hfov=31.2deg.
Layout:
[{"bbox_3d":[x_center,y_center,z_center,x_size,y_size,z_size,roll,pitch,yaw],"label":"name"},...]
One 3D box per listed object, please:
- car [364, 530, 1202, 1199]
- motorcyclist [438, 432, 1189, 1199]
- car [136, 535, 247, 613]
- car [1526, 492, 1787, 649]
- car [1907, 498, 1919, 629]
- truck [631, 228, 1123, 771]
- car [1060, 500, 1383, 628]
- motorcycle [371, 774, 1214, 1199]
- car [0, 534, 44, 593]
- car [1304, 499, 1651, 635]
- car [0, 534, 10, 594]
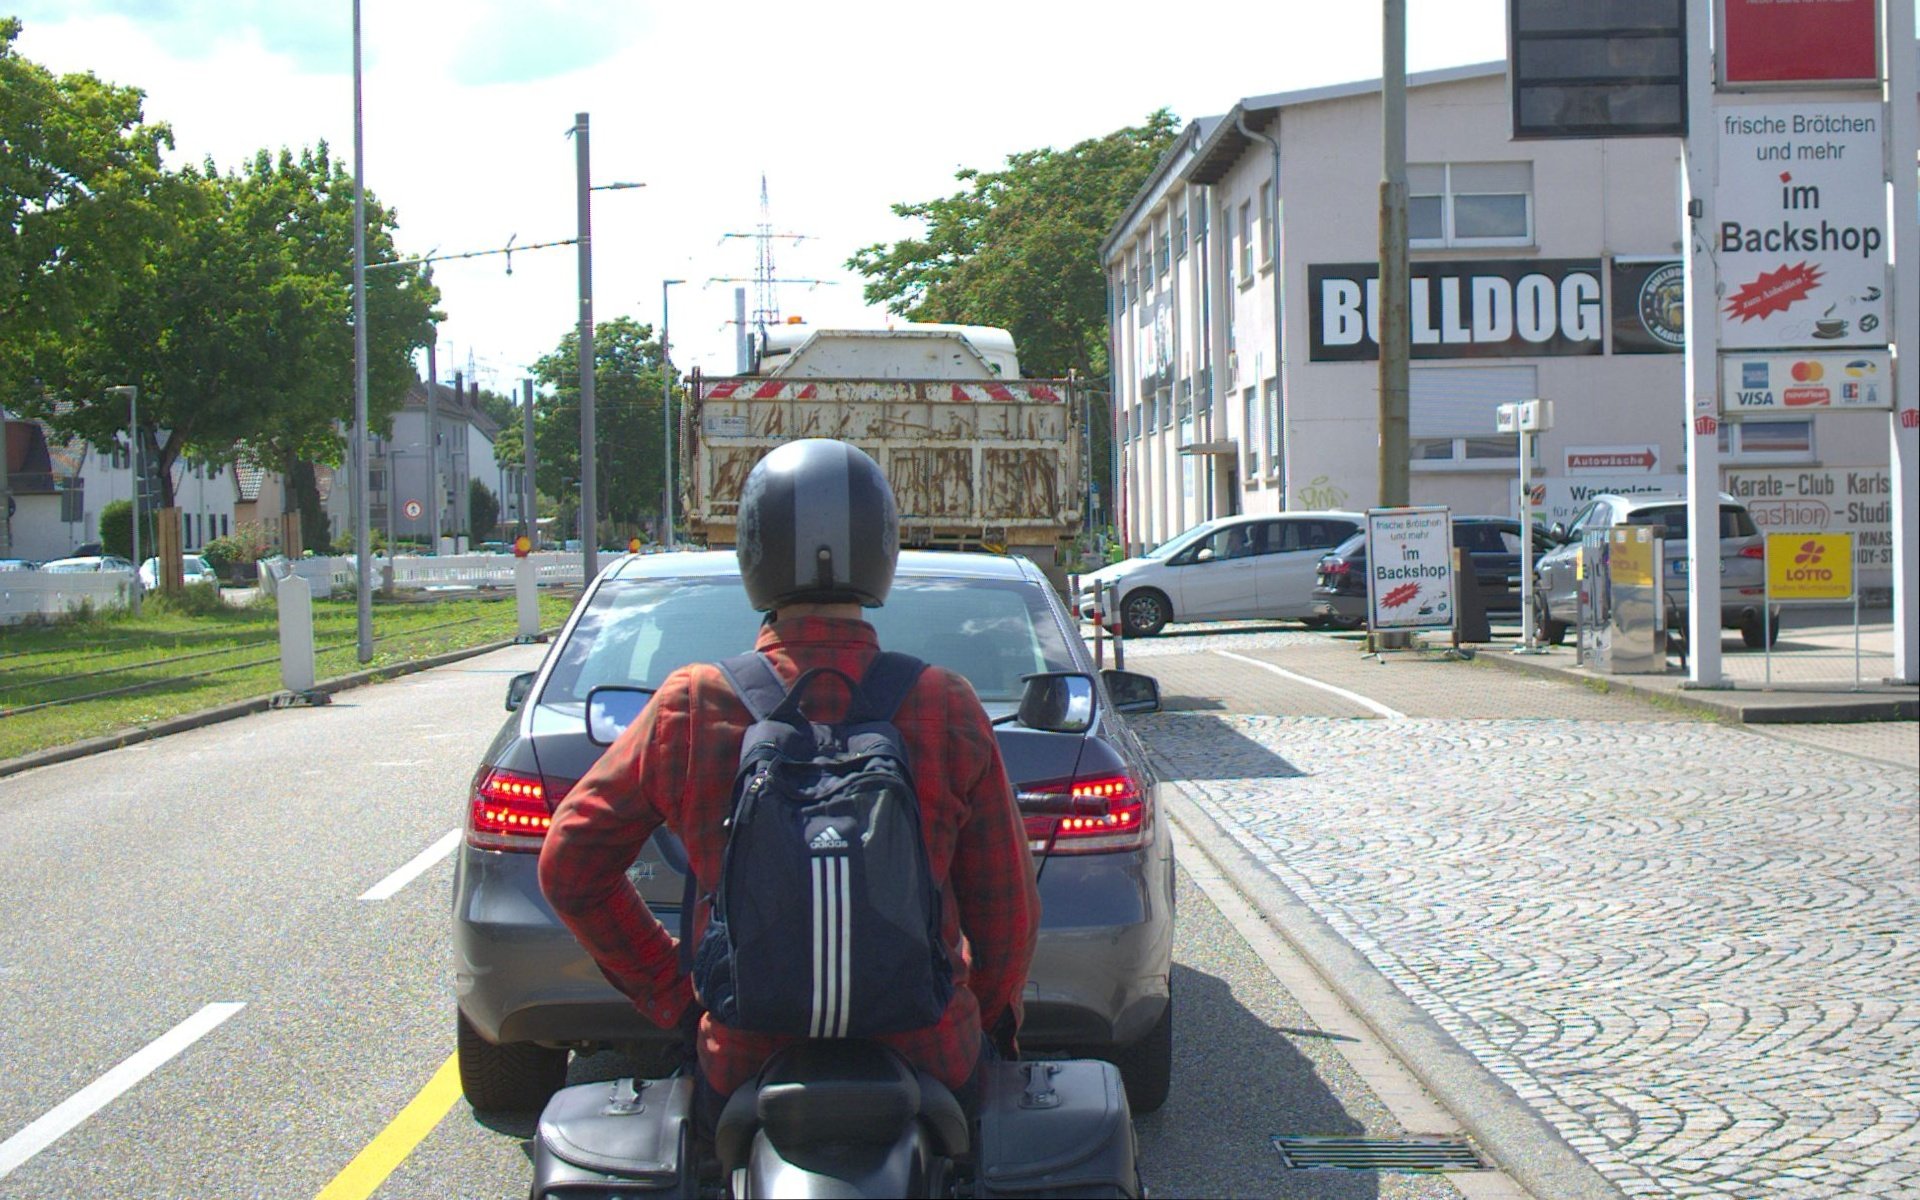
[{"bbox_3d":[-0.450,0.567,9.678,1.832,1.474,4.010,-1,1,-2],"label":"car"},{"bbox_3d":[-0.202,0.587,5.094,0.969,1.627,1.215,1,1,-1],"label":"motorcyclist"},{"bbox_3d":[-17.833,-0.626,79.885,1.698,1.733,3.860,-1,1,0],"label":"car"},{"bbox_3d":[7.354,-0.342,36.655,1.832,1.530,4.010,-1,1,-2],"label":"car"},{"bbox_3d":[11.792,-0.401,37.252,1.832,1.474,4.010,-1,1,-2],"label":"car"},{"bbox_3d":[-0.631,-0.717,25.477,2.970,3.293,8.408,-1,1,-2],"label":"truck"},{"bbox_3d":[3.554,-0.502,47.040,4.104,1.619,1.686,-1,1,-8],"label":"car"},{"bbox_3d":[-0.212,0.862,5.217,0.976,1.010,2.432,1,1,-1],"label":"motorcycle"},{"bbox_3d":[-29.262,-1.113,104.597,1.698,1.733,4.062,-1,1,0],"label":"car"},{"bbox_3d":[6.590,-0.430,44.014,4.104,1.619,1.686,-1,1,-3],"label":"car"},{"bbox_3d":[-28.667,-1.002,98.586,1.698,1.733,4.062,-1,1,0],"label":"car"}]
